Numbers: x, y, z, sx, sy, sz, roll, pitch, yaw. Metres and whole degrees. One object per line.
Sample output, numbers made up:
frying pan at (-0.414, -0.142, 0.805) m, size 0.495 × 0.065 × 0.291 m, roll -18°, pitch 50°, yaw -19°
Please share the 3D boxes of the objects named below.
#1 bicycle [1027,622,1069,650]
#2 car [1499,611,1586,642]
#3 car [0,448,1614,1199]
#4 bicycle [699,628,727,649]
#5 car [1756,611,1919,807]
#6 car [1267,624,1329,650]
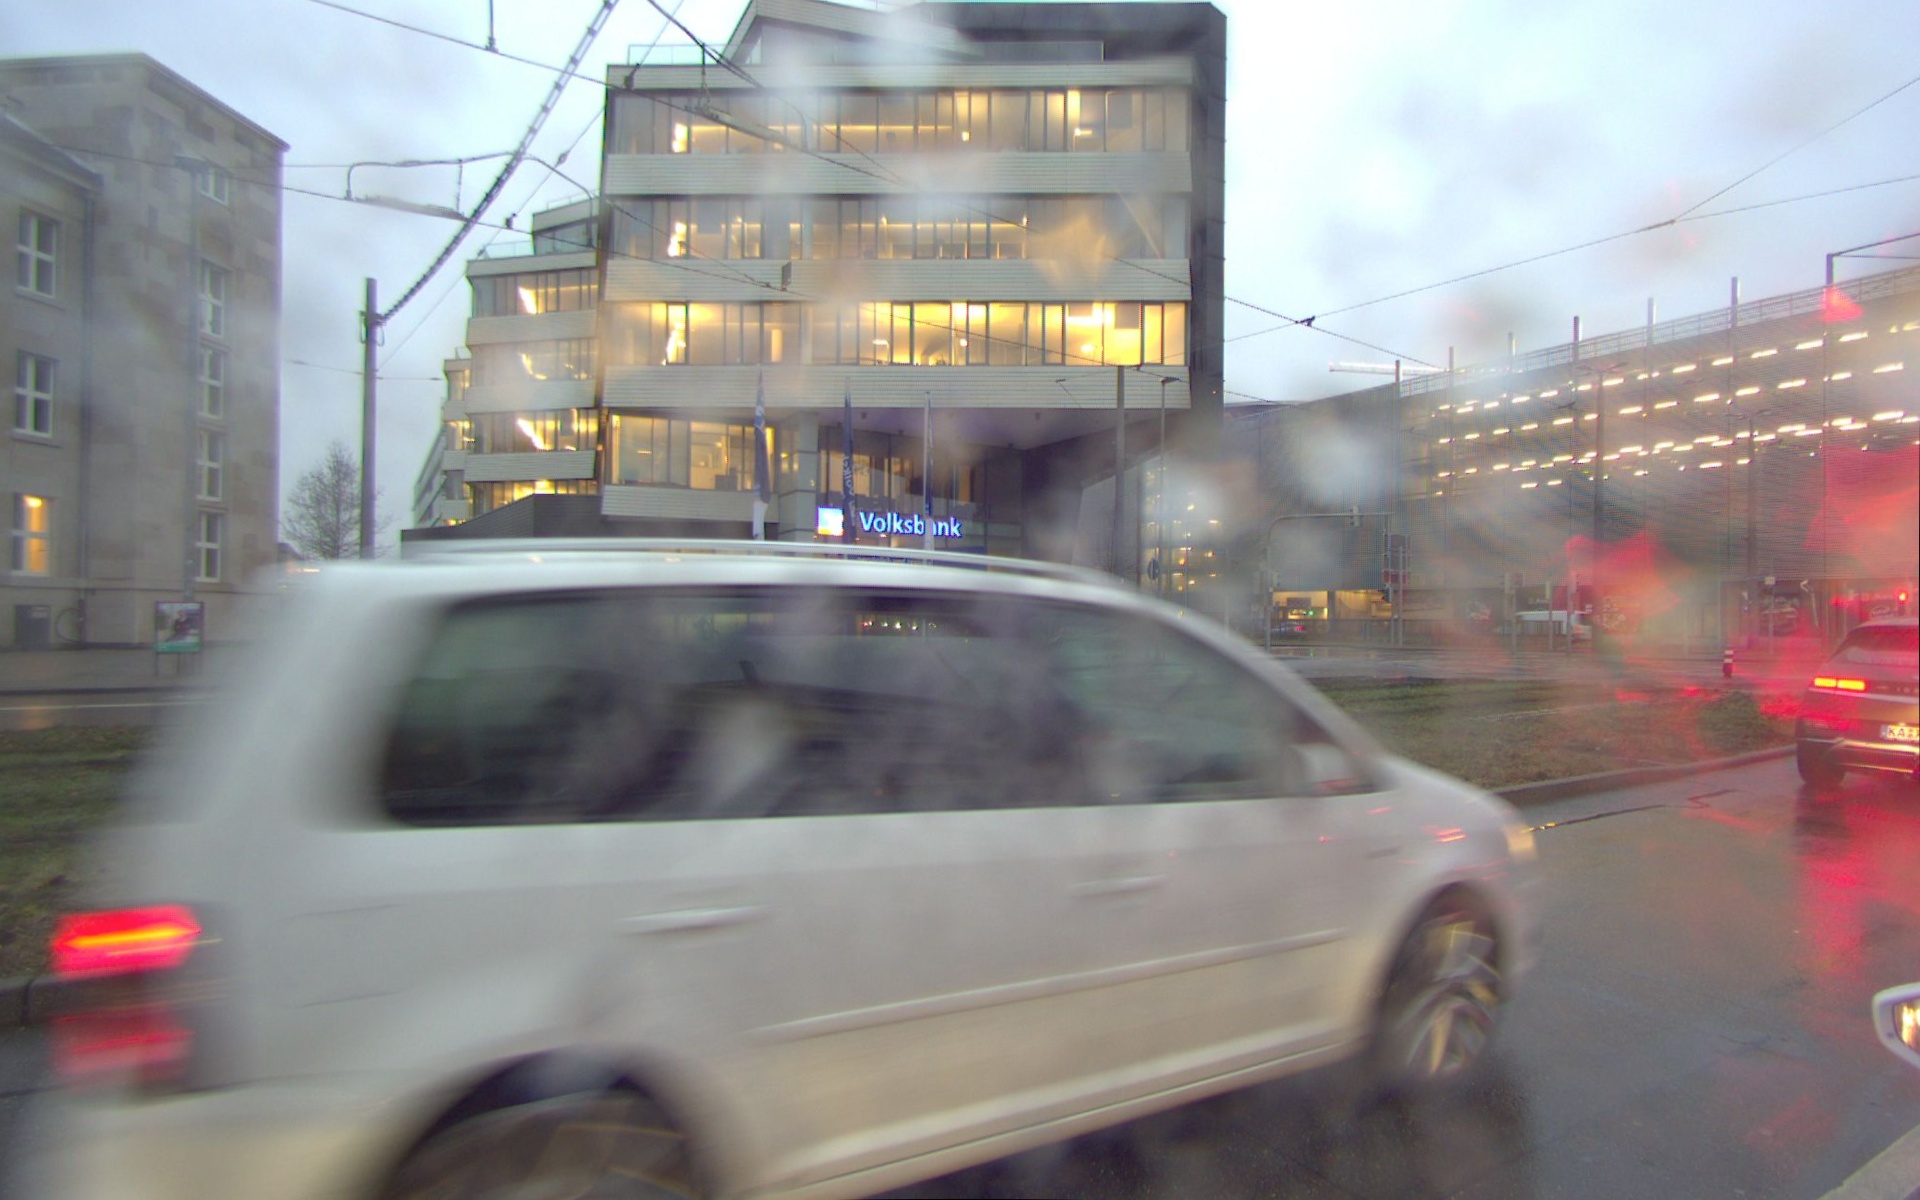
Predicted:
bicycle at (3.528, 1.440, 40.111) m, size 1.588 × 1.105 × 0.553 m, roll 1°, pitch -1°, yaw -23°
car at (39.026, 1.767, 67.400) m, size 1.782 × 2.027 × 4.806 m, roll 1°, pitch -1°, yaw -36°
car at (0.002, 0.626, 3.145) m, size 4.097 × 1.682 × 1.663 m, roll 1°, pitch 1°, yaw -29°
bicycle at (-8.616, 1.350, 35.067) m, size 0.896 × 0.724 × 0.483 m, roll 1°, pitch -1°, yaw -10°
car at (9.315, 0.932, 9.487) m, size 3.959 × 1.595 × 1.742 m, roll 1°, pitch -1°, yaw -34°
car at (28.201, 3.066, 83.892) m, size 1.782 × 2.027 × 4.806 m, roll 1°, pitch -1°, yaw -36°
